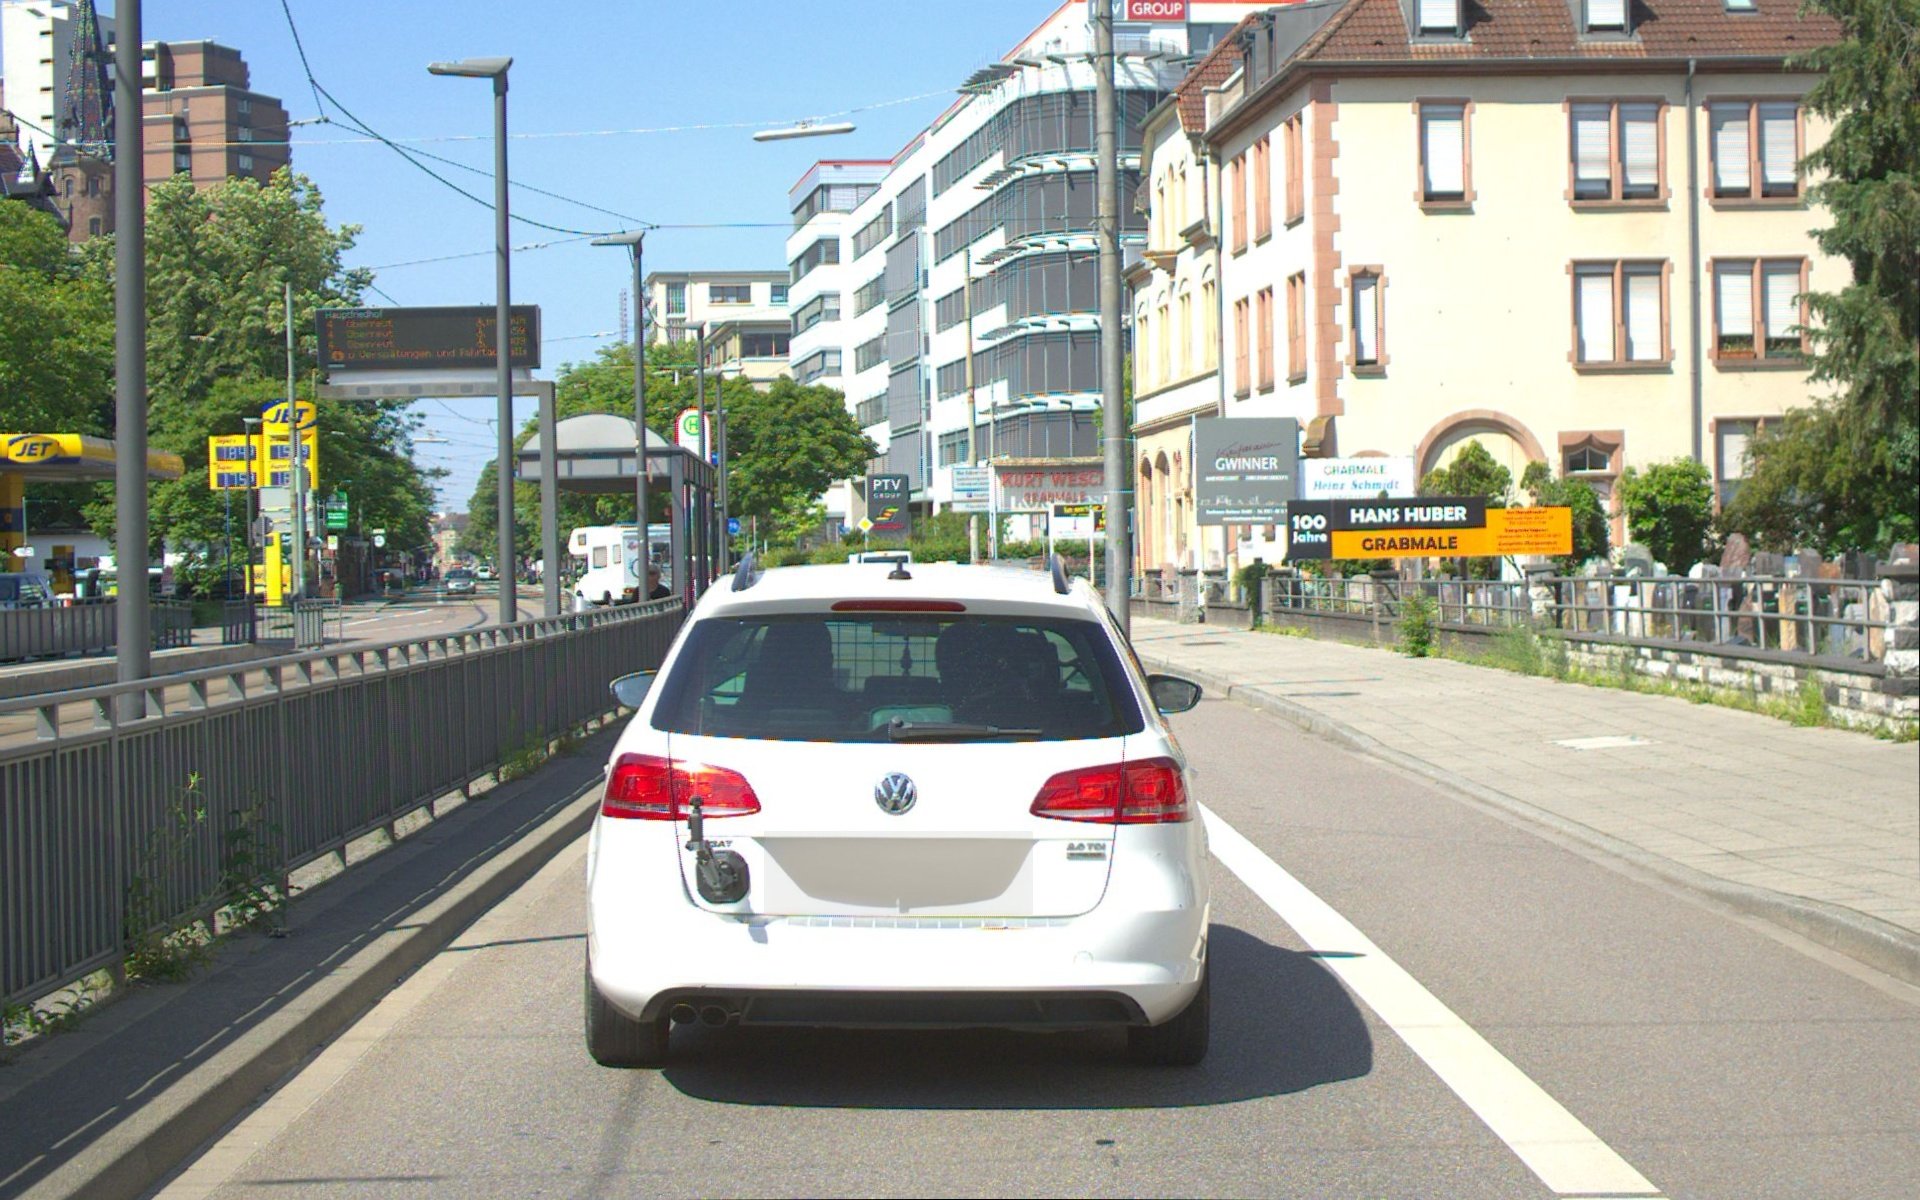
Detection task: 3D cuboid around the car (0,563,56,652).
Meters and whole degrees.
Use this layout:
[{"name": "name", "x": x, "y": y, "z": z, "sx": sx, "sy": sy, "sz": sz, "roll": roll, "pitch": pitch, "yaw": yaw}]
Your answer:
[{"name": "car", "x": -16.851, "y": 0.129, "z": 59.066, "sx": 1.667, "sy": 1.461, "sz": 3.773, "roll": -1, "pitch": 1, "yaw": -1}]

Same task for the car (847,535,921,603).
[{"name": "car", "x": -2.391, "y": -0.980, "z": 106.960, "sx": 1.993, "sy": 2.007, "sz": 4.001, "roll": -1, "pitch": 1, "yaw": -5}]

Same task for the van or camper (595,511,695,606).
[{"name": "van or camper", "x": -11.162, "y": -1.465, "z": 121.362, "sx": 2.943, "sy": 3.169, "sz": 6.615, "roll": -2, "pitch": 1, "yaw": -9}]

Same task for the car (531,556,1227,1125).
[{"name": "car", "x": -0.134, "y": 0.583, "z": 10.657, "sx": 1.753, "sy": 1.413, "sz": 3.853, "roll": 1, "pitch": 1, "yaw": 2}]

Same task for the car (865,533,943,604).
[{"name": "car", "x": -1.679, "y": -0.930, "z": 101.539, "sx": 1.993, "sy": 2.007, "sz": 4.001, "roll": -1, "pitch": 1, "yaw": -5}]
